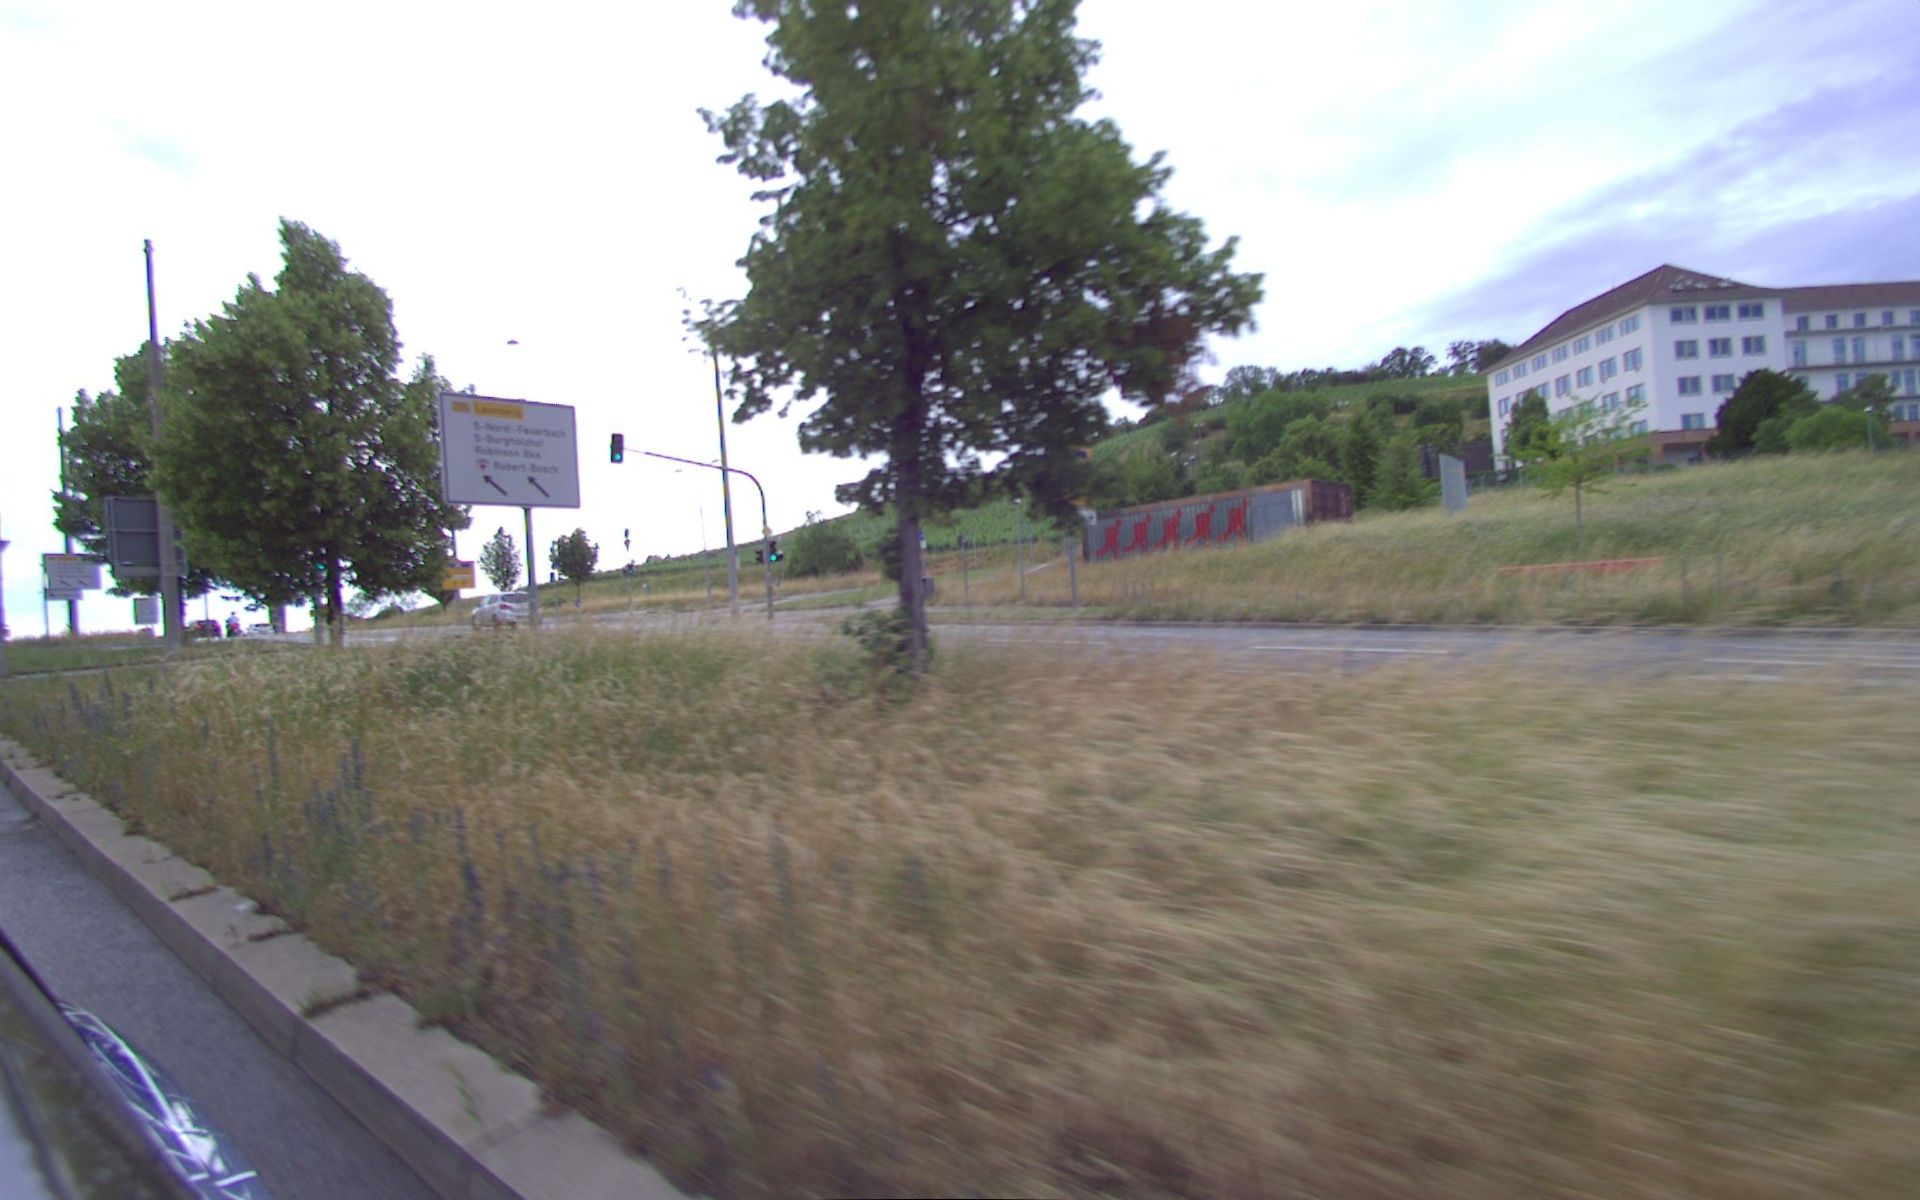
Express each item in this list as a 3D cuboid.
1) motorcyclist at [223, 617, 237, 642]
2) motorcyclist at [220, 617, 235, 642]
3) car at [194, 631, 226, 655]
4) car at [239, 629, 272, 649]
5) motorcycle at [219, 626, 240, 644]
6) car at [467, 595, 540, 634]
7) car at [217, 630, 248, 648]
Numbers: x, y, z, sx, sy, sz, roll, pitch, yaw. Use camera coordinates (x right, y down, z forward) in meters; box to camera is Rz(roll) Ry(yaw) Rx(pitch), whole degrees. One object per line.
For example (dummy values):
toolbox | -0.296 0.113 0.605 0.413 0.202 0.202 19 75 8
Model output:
motorcyclist | -46.943 1.899 65.064 0.582 1.593 0.605 -4 -1 43
motorcyclist | -47.426 1.920 65.520 0.643 1.608 0.576 -4 -1 43
car | -54.417 3.108 73.480 1.517 1.515 3.672 -2 1 -32
car | -60.267 3.337 86.558 3.775 1.474 1.633 -4 -1 44
motorcycle | -47.102 2.256 65.245 2.502 1.058 0.610 -4 -1 43
car | -17.972 0.563 39.769 1.520 1.399 3.933 -2 1 -41
car | -71.830 3.801 99.883 4.178 1.660 1.748 -1 1 44
